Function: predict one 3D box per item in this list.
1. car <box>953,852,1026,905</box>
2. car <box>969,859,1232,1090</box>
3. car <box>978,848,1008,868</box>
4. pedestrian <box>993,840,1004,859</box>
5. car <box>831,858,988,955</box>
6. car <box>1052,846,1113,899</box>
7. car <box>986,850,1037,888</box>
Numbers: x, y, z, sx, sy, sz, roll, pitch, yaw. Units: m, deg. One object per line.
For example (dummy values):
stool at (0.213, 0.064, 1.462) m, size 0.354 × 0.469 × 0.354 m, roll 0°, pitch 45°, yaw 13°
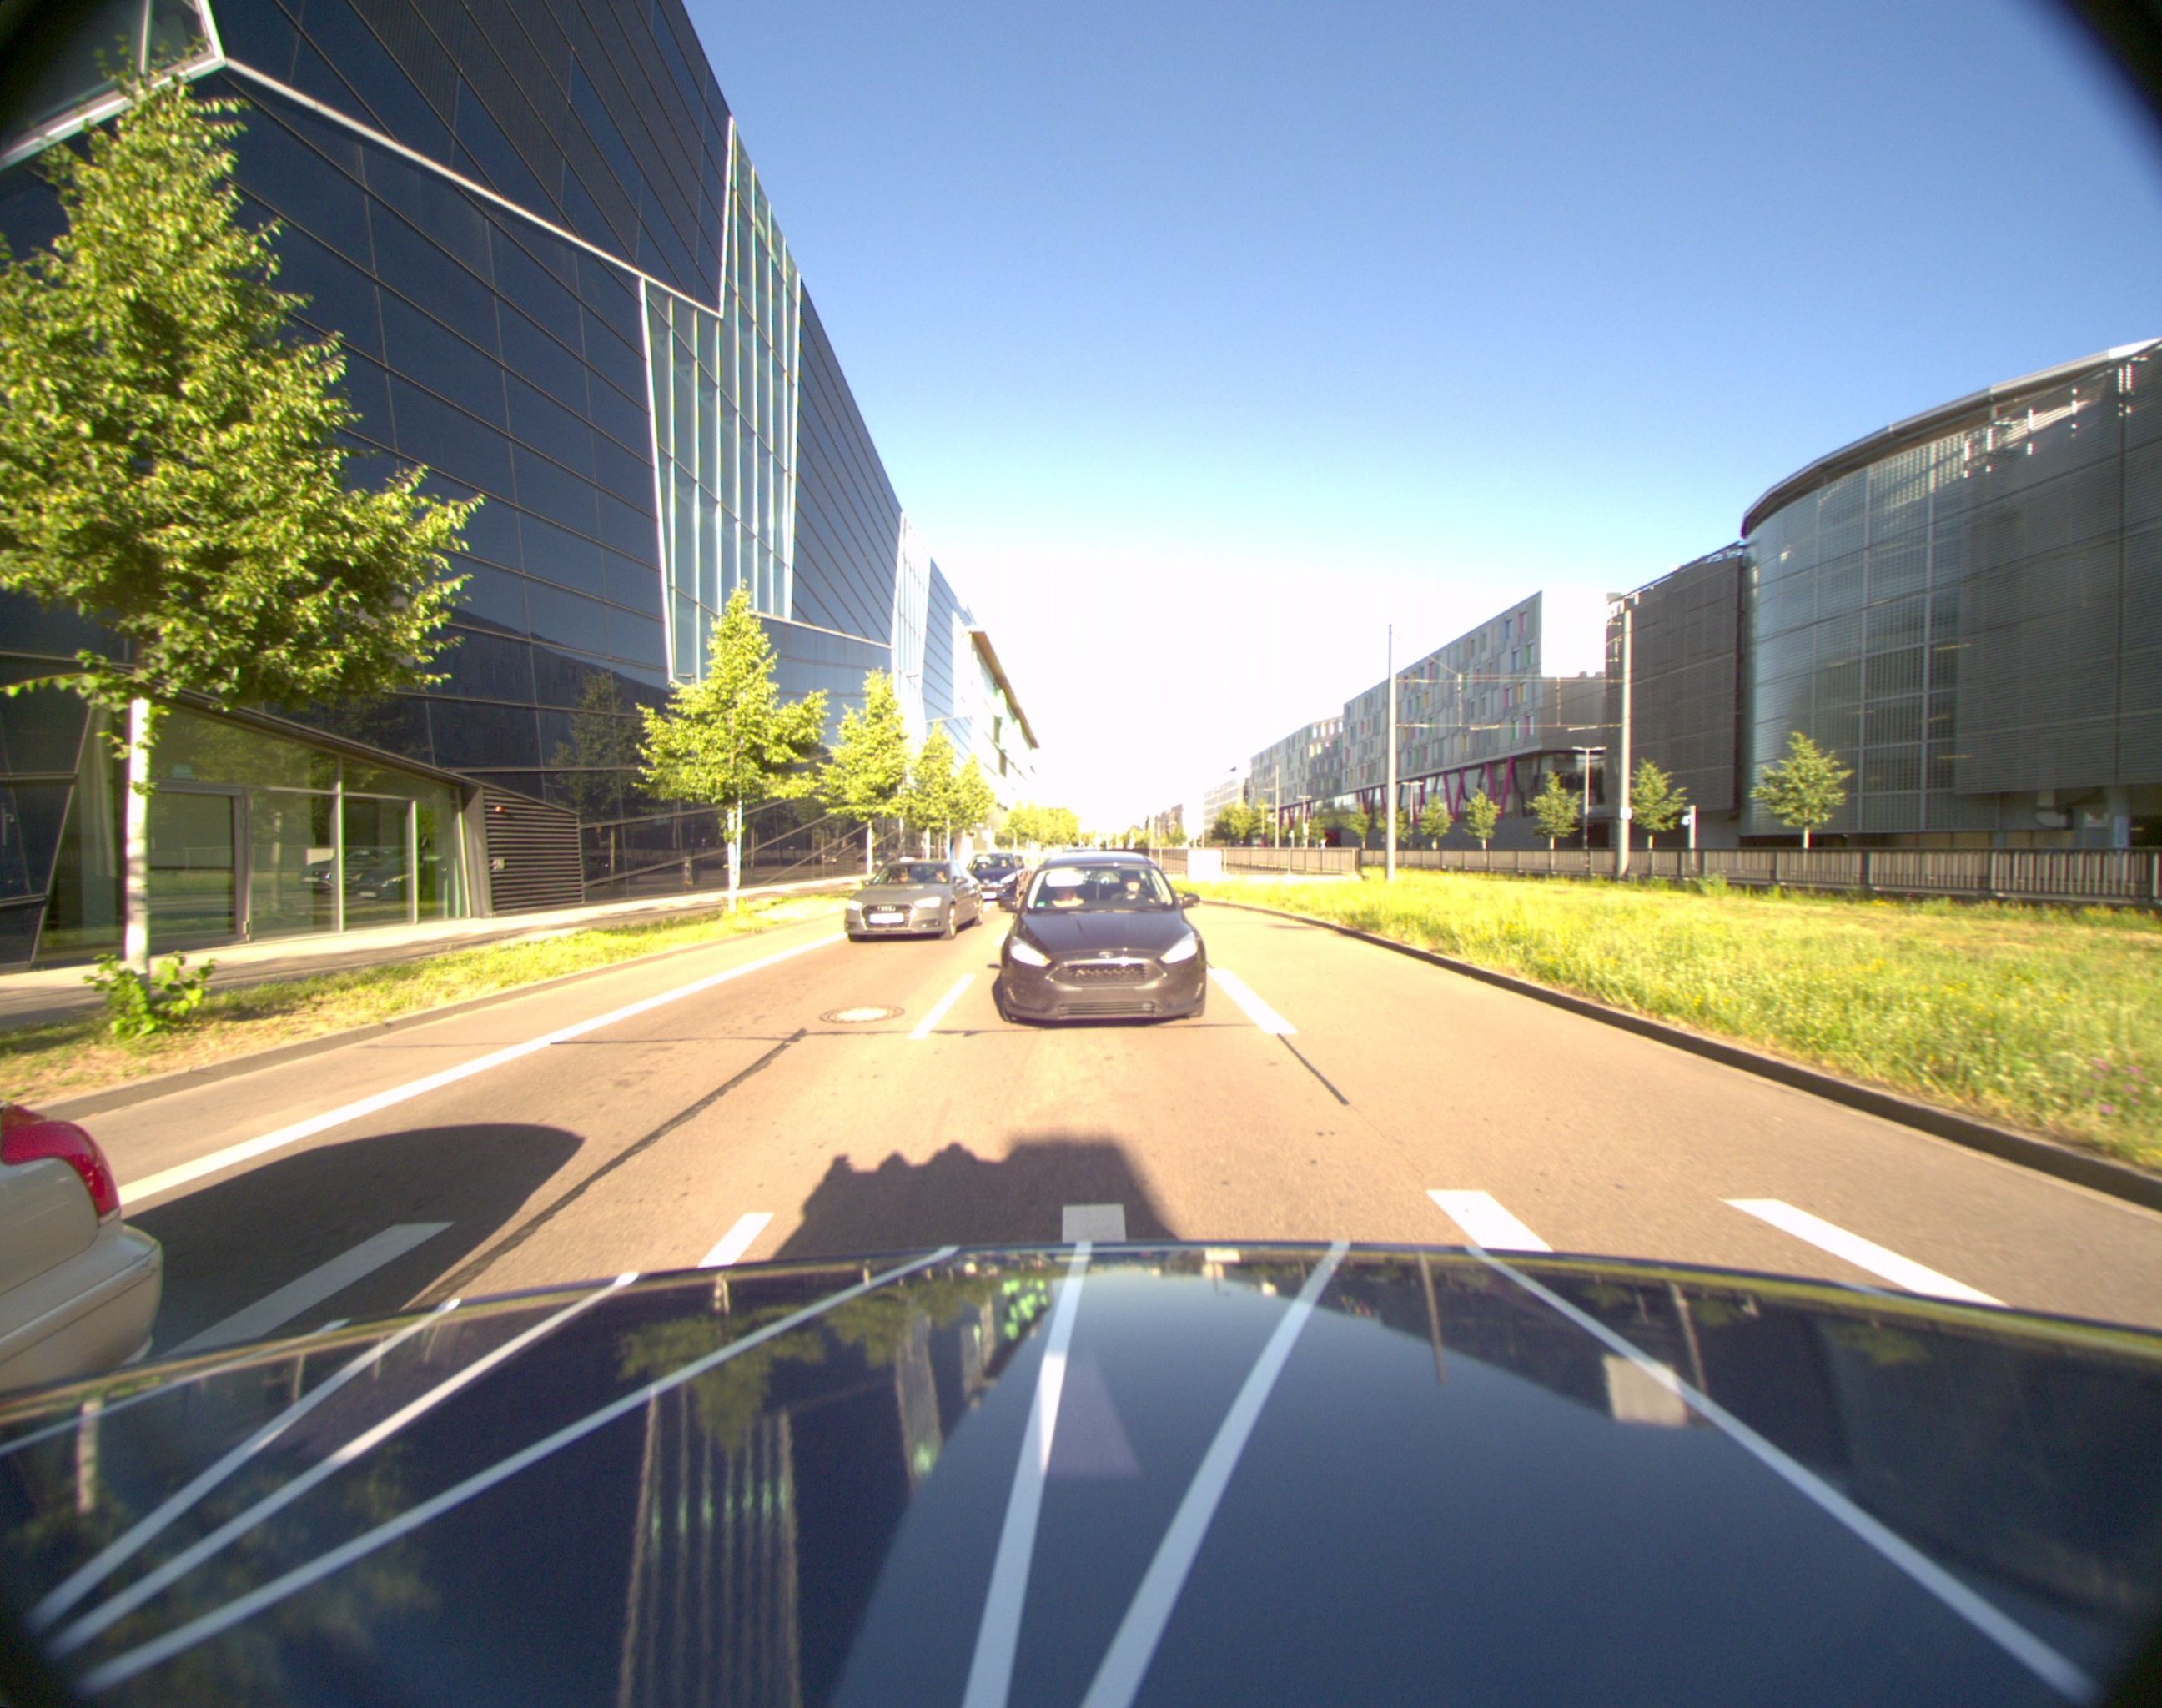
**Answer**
car at (-2.787, 0.700, 23.956) m, size 1.753 × 1.470 × 3.971 m, roll -1°, pitch 1°, yaw 0°
car at (0.156, 0.851, 7.551) m, size 1.787 × 1.499 × 4.589 m, roll -1°, pitch 1°, yaw 0°
car at (-6.788, 0.270, 59.071) m, size 1.740 × 1.490 × 4.715 m, roll 2°, pitch 1°, yaw 0°
pedestrian at (-8.267, -0.448, 76.164) m, size 0.828 × 1.814 × 0.905 m, roll 3°, pitch 1°, yaw 0°
car at (-2.965, 0.845, 14.123) m, size 1.750 × 1.384 × 4.264 m, roll -1°, pitch 1°, yaw 3°
car at (0.072, 0.565, 25.644) m, size 1.907 × 1.612 × 3.999 m, roll 0°, pitch 1°, yaw 1°
car at (-2.886, 0.590, 32.117) m, size 1.753 × 1.470 × 3.417 m, roll -1°, pitch 1°, yaw 0°
